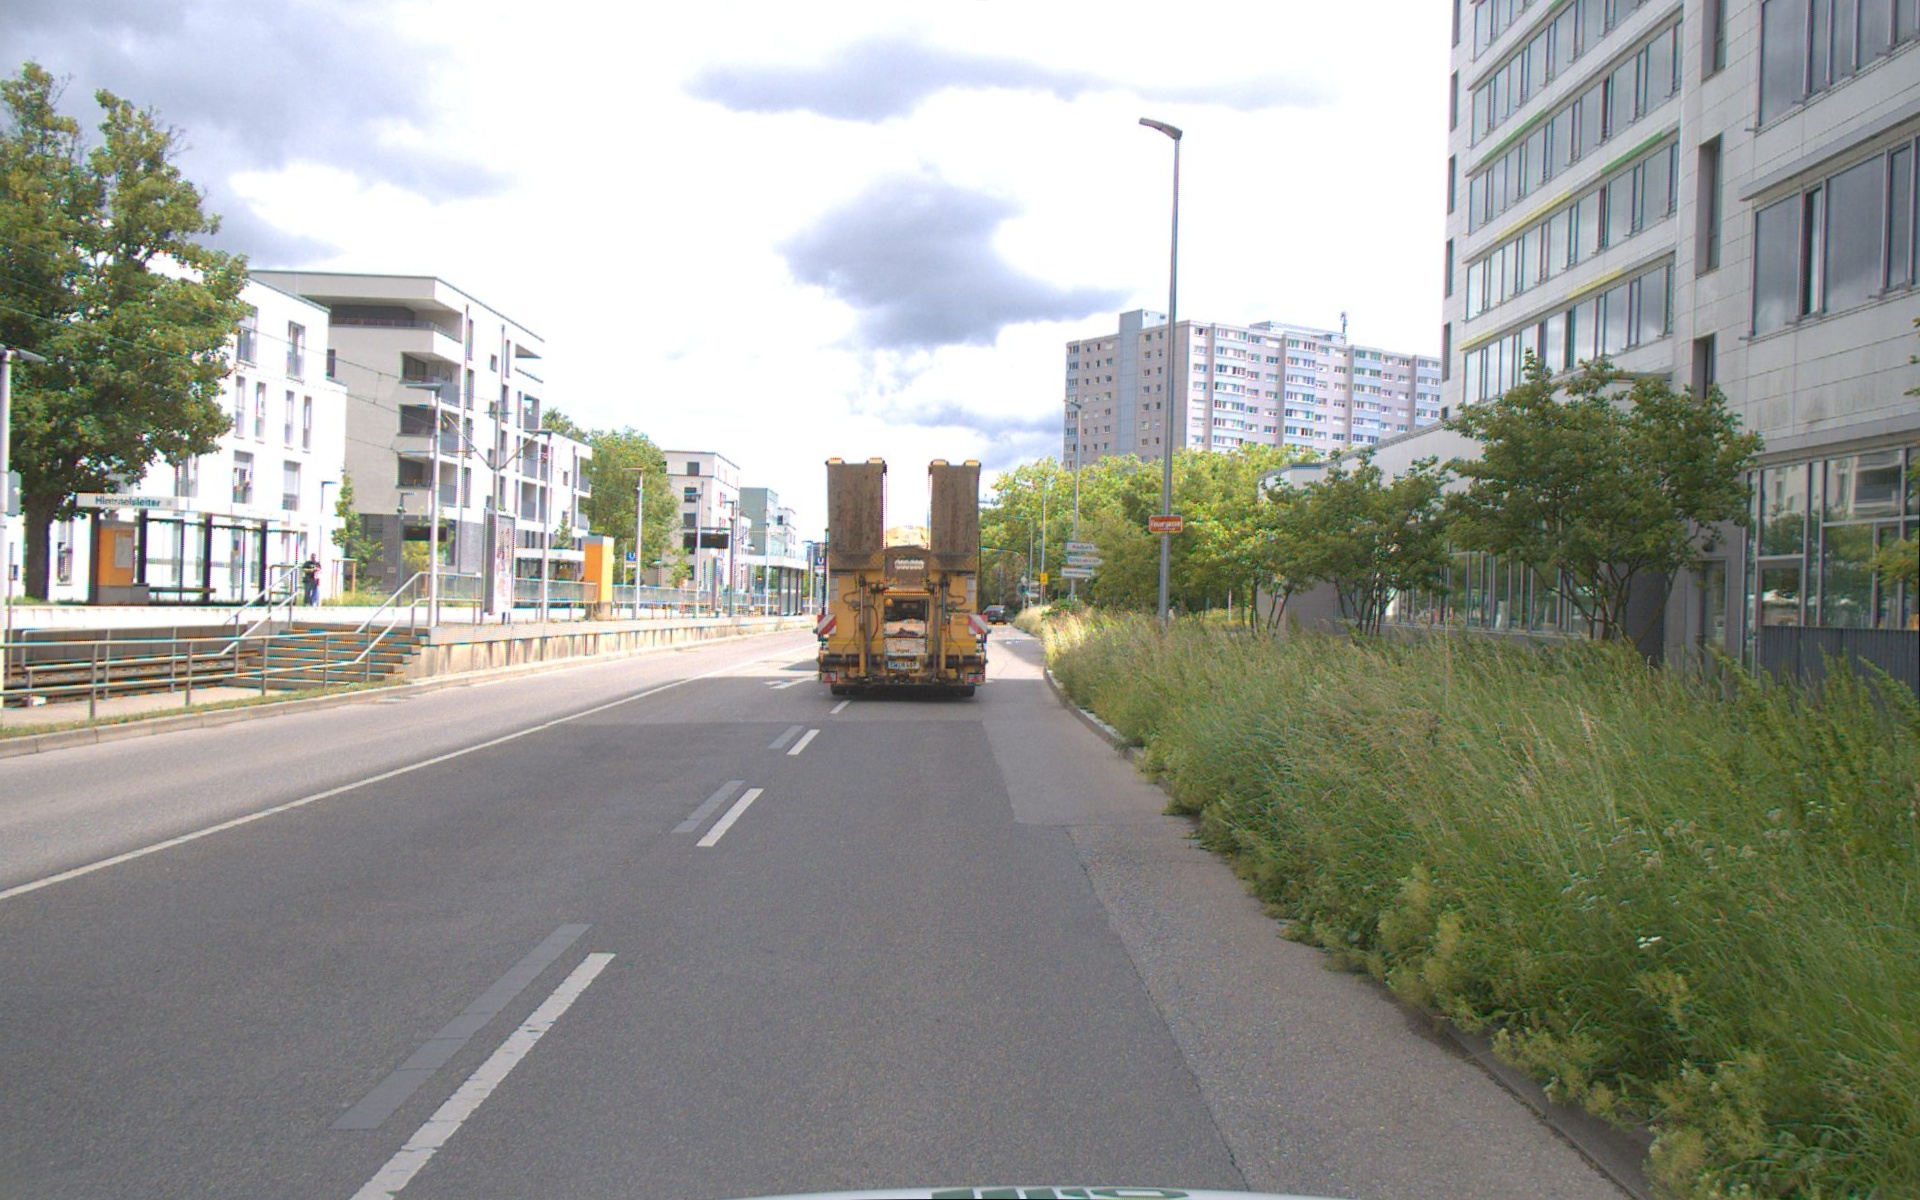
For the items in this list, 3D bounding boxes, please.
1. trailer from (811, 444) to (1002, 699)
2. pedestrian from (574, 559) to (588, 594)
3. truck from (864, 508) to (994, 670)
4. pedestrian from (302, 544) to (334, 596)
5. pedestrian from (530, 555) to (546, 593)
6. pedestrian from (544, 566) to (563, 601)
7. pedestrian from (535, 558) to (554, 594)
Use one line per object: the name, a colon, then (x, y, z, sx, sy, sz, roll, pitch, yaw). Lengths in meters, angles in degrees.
trailer: (-0.718, -0.374, 29.562, 2.673, 3.621, 11.253, 1, 0, 0)
pedestrian: (-19.862, -1.222, 86.675, 0.549, 1.797, 0.678, 1, -1, 2)
truck: (-0.638, -0.198, 39.364, 2.697, 3.371, 8.351, 1, 0, 0)
pedestrian: (-19.589, -0.907, 50.478, 0.726, 1.558, 0.547, 1, -1, 3)
pedestrian: (-19.764, -1.196, 77.445, 0.483, 1.755, 0.670, 2, -1, -34)
pedestrian: (-19.219, -0.782, 78.265, 0.479, 1.624, 0.675, 1, -1, 35)
pedestrian: (-19.359, -1.115, 77.056, 0.480, 1.624, 0.673, 1, -1, 43)
